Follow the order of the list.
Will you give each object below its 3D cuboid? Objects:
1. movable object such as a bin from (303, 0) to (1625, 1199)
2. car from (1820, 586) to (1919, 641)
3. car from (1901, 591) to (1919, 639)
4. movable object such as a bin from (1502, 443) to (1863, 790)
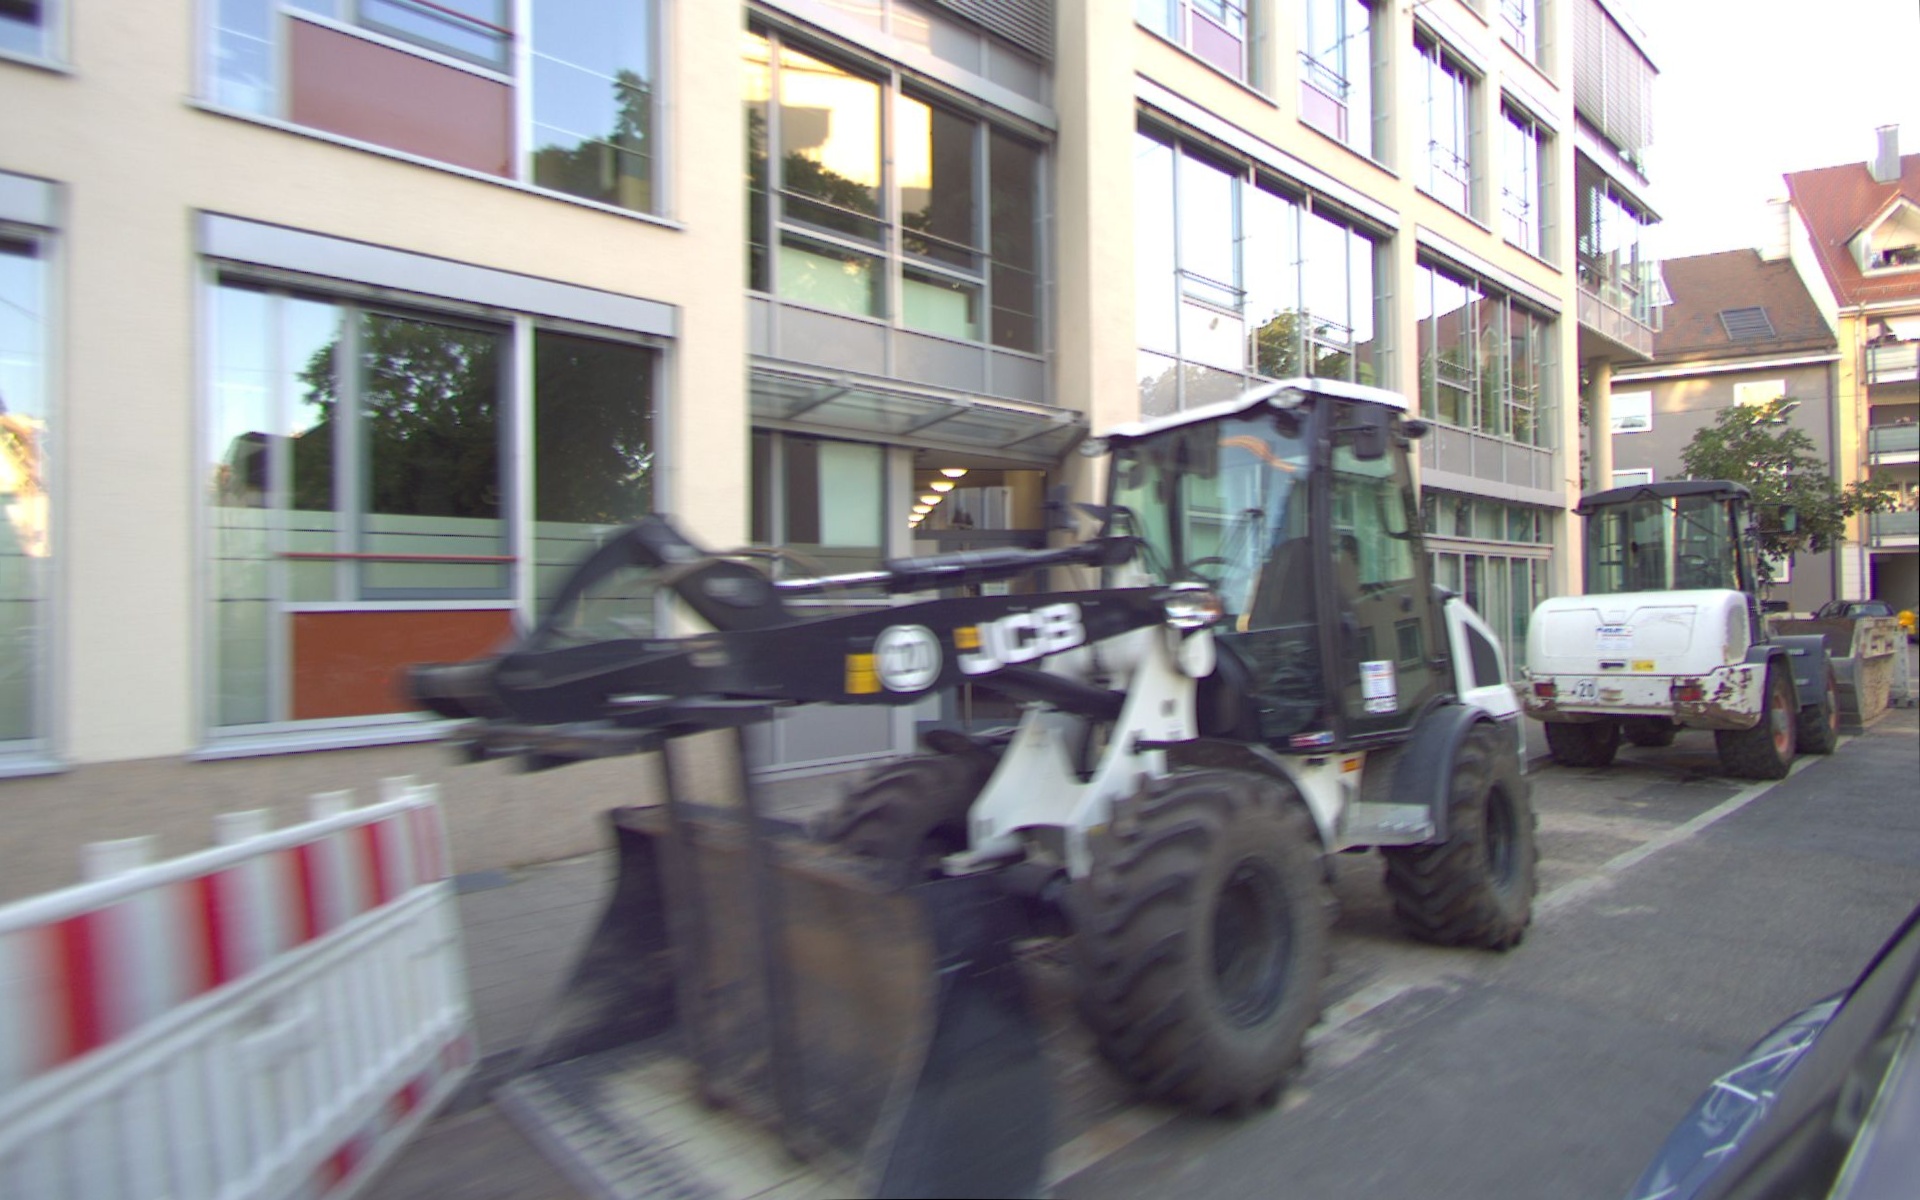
[{"bbox_3d":[0.637,0.164,4.233,5.446,2.629,2.170,-1,0,-41],"label":"movable object such as a bin"},{"bbox_3d":[28.821,0.401,32.025,1.729,1.544,3.331,0,2,27],"label":"car"},{"bbox_3d":[31.187,0.463,31.295,1.853,1.527,4.255,-1,0,26],"label":"car"},{"bbox_3d":[7.055,0.102,9.744,4.037,2.667,1.800,-1,0,-39],"label":"movable object such as a bin"}]
